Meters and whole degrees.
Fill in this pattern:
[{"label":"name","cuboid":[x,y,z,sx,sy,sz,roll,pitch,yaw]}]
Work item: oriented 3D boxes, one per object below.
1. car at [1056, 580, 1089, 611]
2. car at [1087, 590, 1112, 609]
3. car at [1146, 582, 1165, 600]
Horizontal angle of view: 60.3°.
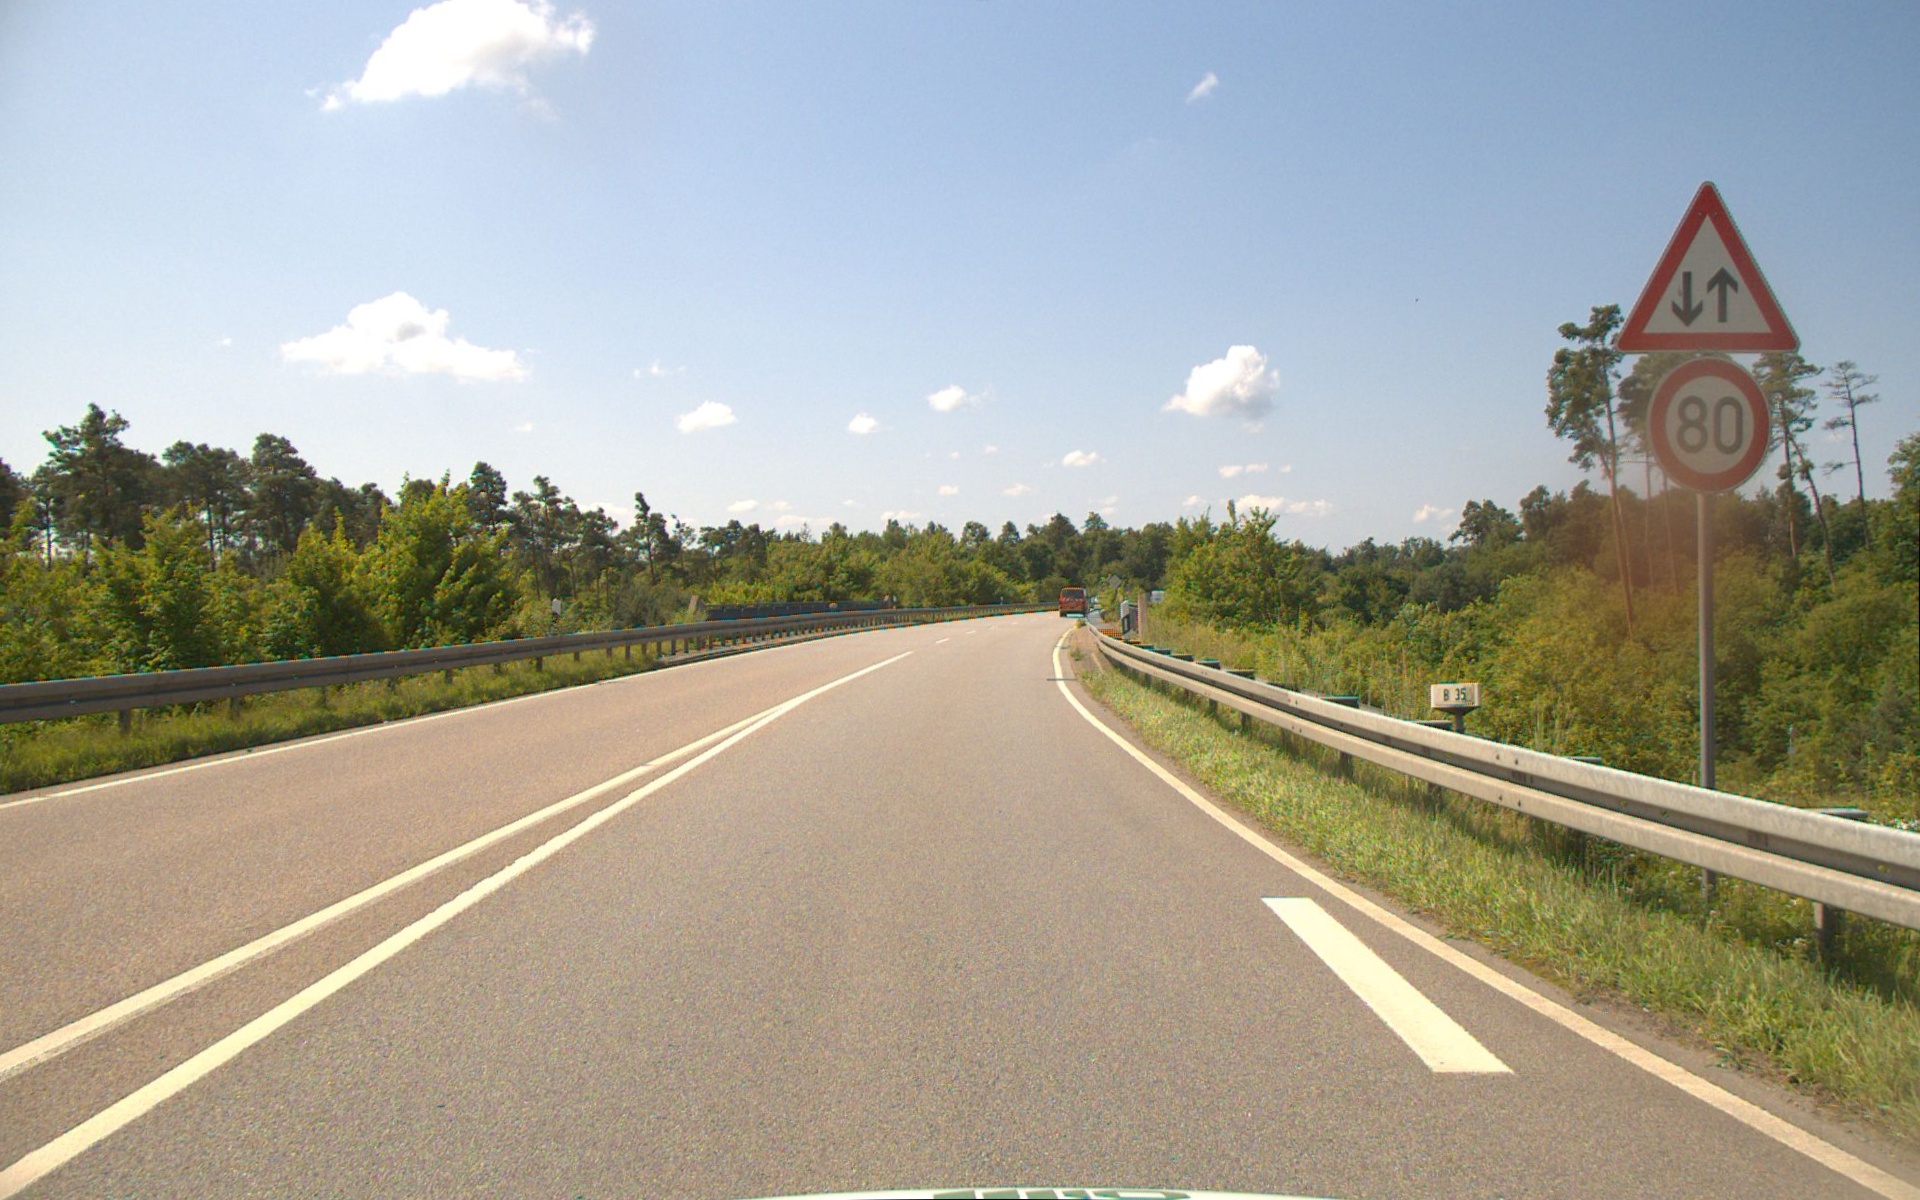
[{"label":"car","cuboid":[7.783,-0.299,114.186,2.033,2.028,5.115,1,0,6]},{"label":"car","cuboid":[11.483,-0.060,136.284,1.965,1.520,4.241,1,0,6]},{"label":"car","cuboid":[22.973,-1.085,194.028,2.138,1.989,5.809,1,1,8]}]
